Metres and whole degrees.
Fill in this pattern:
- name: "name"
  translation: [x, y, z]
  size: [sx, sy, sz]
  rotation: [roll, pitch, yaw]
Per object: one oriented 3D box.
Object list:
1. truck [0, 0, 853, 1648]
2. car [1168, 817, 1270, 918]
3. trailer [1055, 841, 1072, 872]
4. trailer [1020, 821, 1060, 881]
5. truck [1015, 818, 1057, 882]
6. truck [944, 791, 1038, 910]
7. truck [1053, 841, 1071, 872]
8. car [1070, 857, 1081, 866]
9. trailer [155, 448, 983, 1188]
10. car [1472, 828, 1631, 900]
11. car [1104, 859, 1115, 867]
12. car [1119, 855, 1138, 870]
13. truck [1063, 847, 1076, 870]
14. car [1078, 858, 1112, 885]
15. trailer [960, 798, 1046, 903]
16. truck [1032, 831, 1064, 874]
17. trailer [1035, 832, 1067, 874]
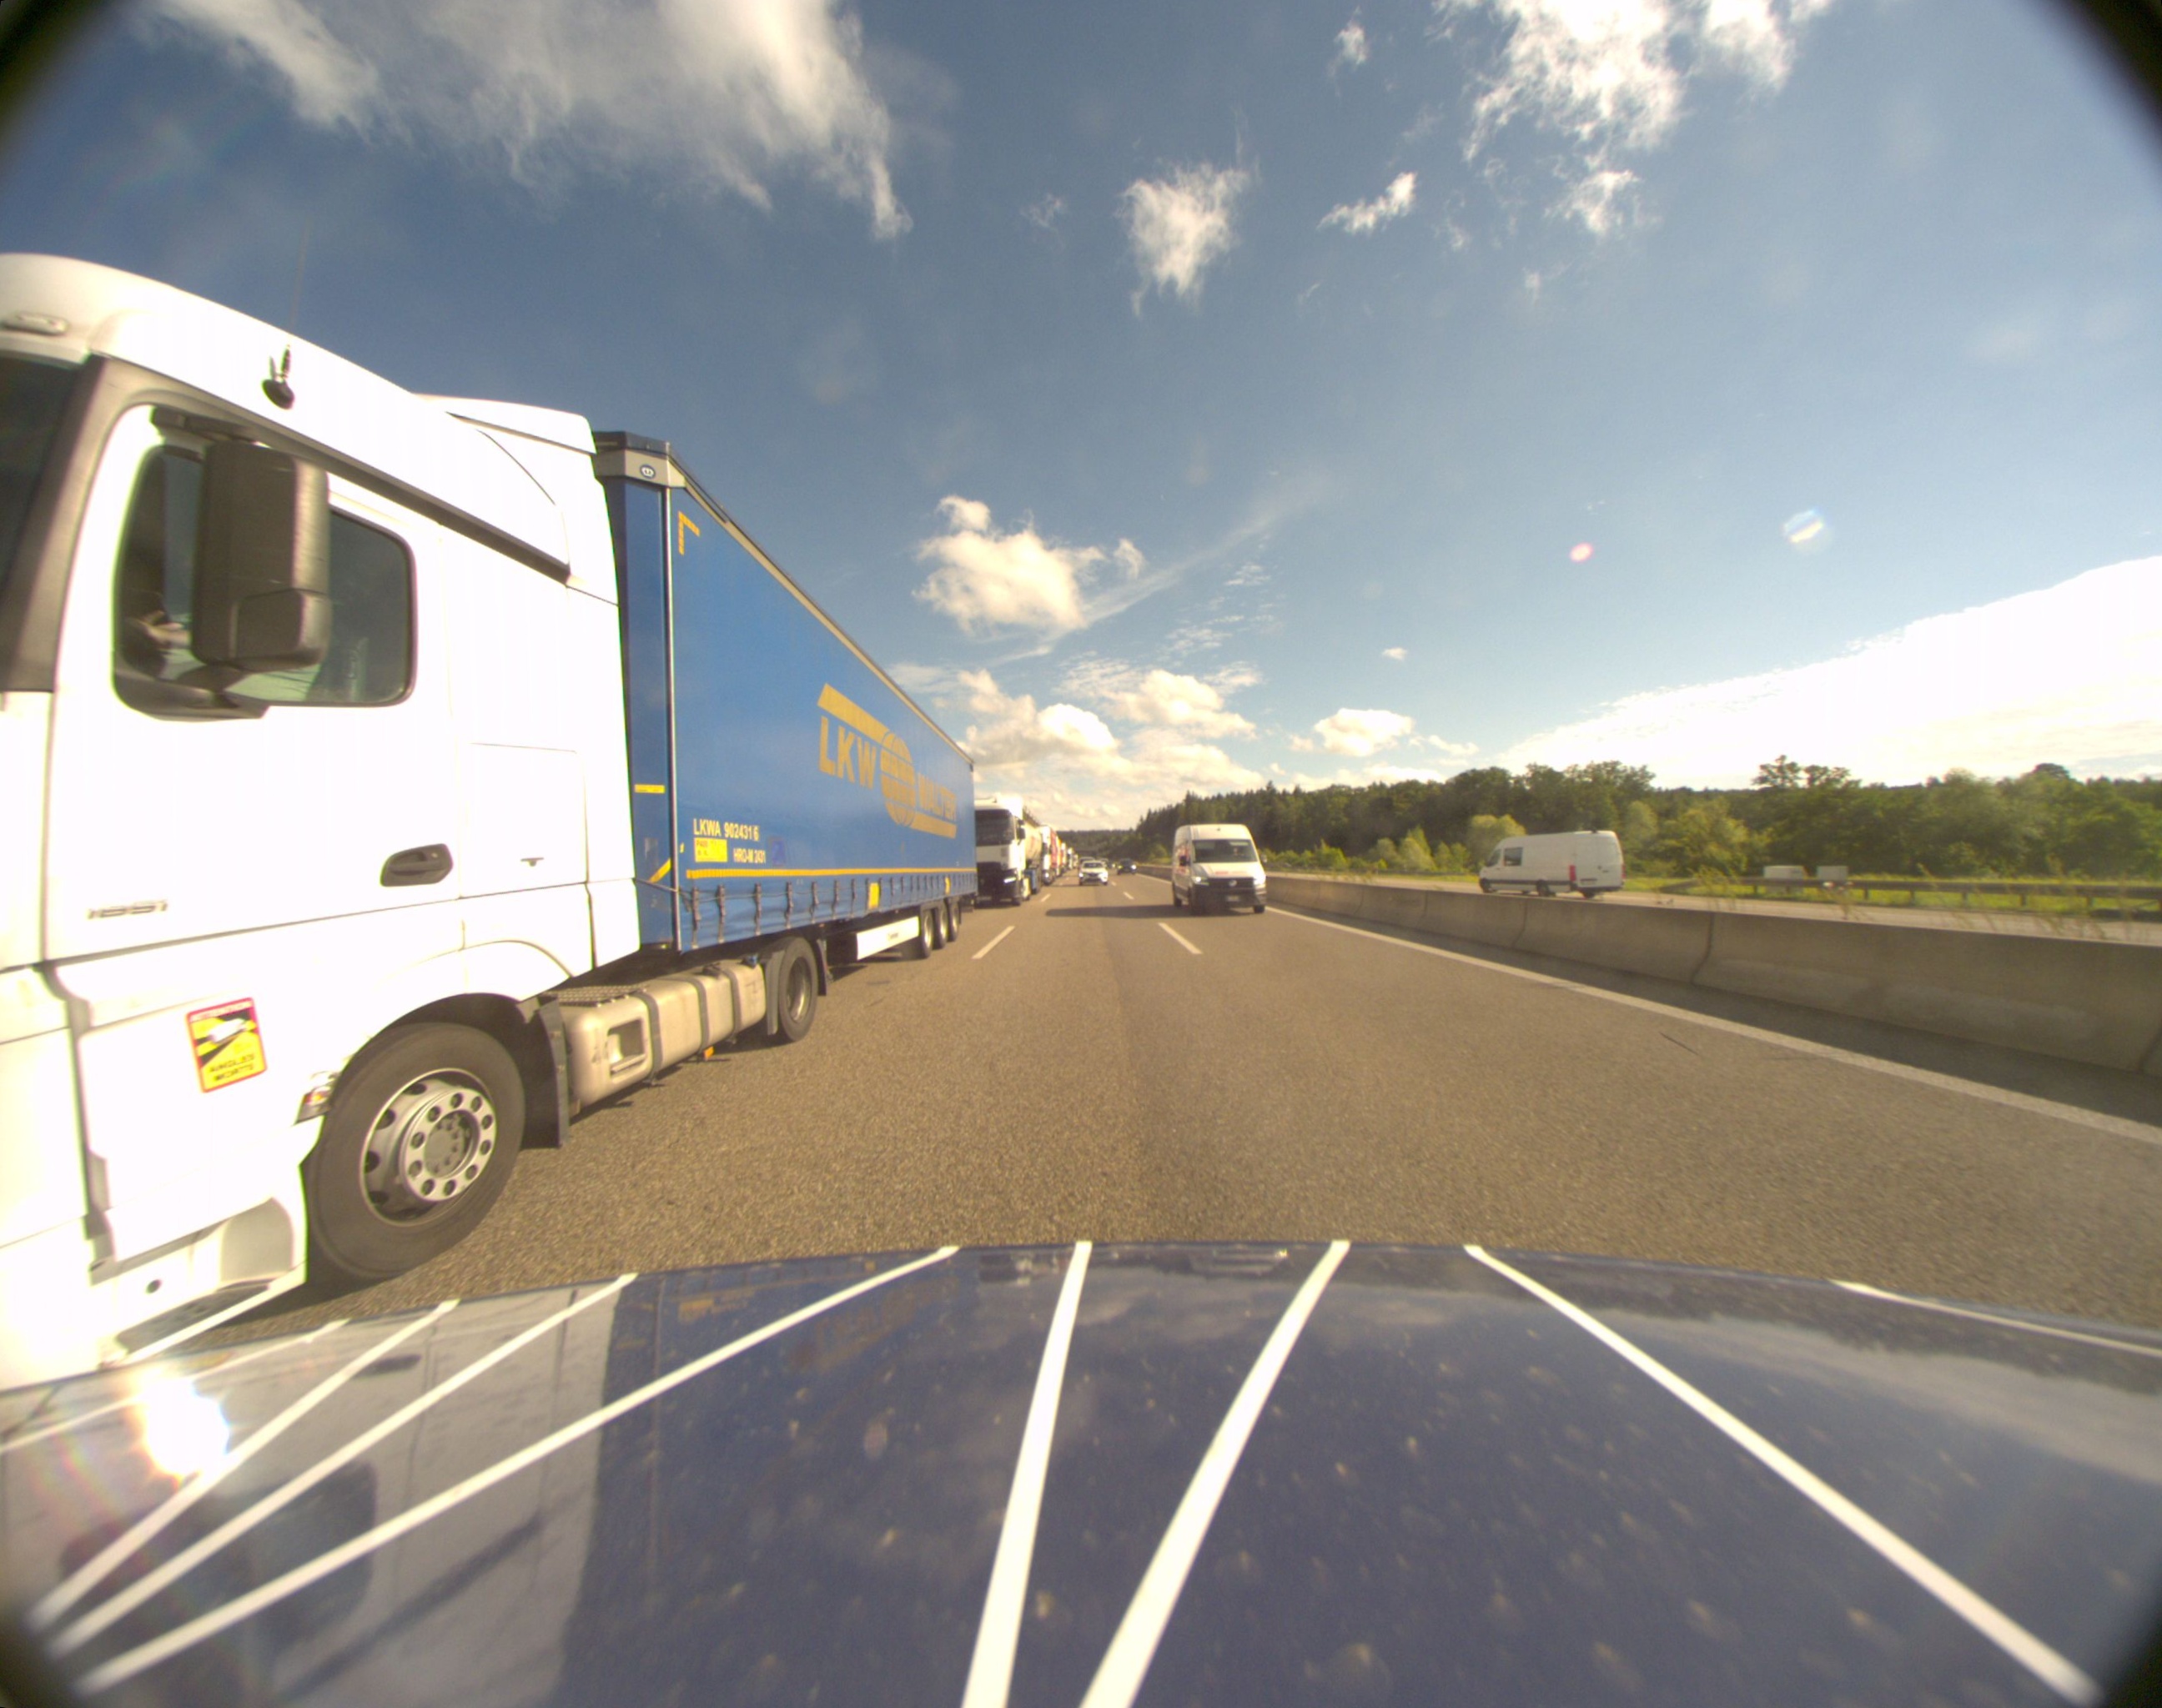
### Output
- name: "truck"
  translation: [-3.792, -0.233, 4.678]
  size: [2.655, 4.065, 6.491]
  rotation: [-2, 0, 0]
- name: "car"
  translation: [3.926, 0.375, 22.794]
  size: [2.020, 2.583, 6.182]
  rotation: [-1, -1, 1]
- name: "trailer"
  translation: [-2.429, 0.325, 106.424]
  size: [1.998, 3.998, 7.345]
  rotation: [-2, 0, 1]
- name: "trailer"
  translation: [-2.950, -0.065, 57.962]
  size: [2.334, 3.973, 14.300]
  rotation: [-1, -1, 0]
- name: "truck"
  translation: [-2.902, -0.173, 50.815]
  size: [2.371, 3.996, 6.107]
  rotation: [-1, -1, 0]
- name: "truck"
  translation: [-3.226, -0.115, 29.078]
  size: [2.656, 3.902, 6.941]
  rotation: [-2, 0, 0]
- name: "truck"
  translation: [-2.506, 0.308, 101.444]
  size: [1.998, 4.025, 5.870]
  rotation: [-2, 0, 1]
- name: "car"
  translation: [-1.278, 1.730, 173.043]
  size: [2.129, 2.030, 4.697]
  rotation: [1, 0, 2]
- name: "trailer"
  translation: [-3.768, -0.215, 11.272]
  size: [2.649, 4.074, 13.979]
  rotation: [-2, 0, 0]
- name: "car"
  translation: [19.158, 0.347, 31.539]
  size: [2.038, 2.563, 7.321]
  rotation: [-2, 0, 0]
- name: "car"
  translation: [5.077, 1.620, 136.620]
  size: [1.779, 1.451, 4.158]
  rotation: [1, 0, 1]
- name: "car"
  translation: [5.056, 0.904, 80.787]
  size: [1.779, 1.533, 4.158]
  rotation: [1, 0, 1]
- name: "truck"
  translation: [-2.092, 0.802, 139.922]
  size: [1.998, 3.998, 7.344]
  rotation: [-2, 0, 0]
- name: "car"
  translation: [0.955, 1.082, 48.448]
  size: [2.026, 1.510, 5.299]
  rotation: [-2, 0, 2]
- name: "trailer"
  translation: [-3.258, -0.095, 34.698]
  size: [2.653, 3.911, 11.174]
  rotation: [-2, 0, 0]
- name: "truck"
  translation: [-3.125, -0.107, 73.754]
  size: [2.634, 3.959, 5.956]
  rotation: [-2, 0, 1]
- name: "trailer"
  translation: [-3.040, -0.084, 80.864]
  size: [2.624, 3.977, 13.366]
  rotation: [-2, 0, 1]
